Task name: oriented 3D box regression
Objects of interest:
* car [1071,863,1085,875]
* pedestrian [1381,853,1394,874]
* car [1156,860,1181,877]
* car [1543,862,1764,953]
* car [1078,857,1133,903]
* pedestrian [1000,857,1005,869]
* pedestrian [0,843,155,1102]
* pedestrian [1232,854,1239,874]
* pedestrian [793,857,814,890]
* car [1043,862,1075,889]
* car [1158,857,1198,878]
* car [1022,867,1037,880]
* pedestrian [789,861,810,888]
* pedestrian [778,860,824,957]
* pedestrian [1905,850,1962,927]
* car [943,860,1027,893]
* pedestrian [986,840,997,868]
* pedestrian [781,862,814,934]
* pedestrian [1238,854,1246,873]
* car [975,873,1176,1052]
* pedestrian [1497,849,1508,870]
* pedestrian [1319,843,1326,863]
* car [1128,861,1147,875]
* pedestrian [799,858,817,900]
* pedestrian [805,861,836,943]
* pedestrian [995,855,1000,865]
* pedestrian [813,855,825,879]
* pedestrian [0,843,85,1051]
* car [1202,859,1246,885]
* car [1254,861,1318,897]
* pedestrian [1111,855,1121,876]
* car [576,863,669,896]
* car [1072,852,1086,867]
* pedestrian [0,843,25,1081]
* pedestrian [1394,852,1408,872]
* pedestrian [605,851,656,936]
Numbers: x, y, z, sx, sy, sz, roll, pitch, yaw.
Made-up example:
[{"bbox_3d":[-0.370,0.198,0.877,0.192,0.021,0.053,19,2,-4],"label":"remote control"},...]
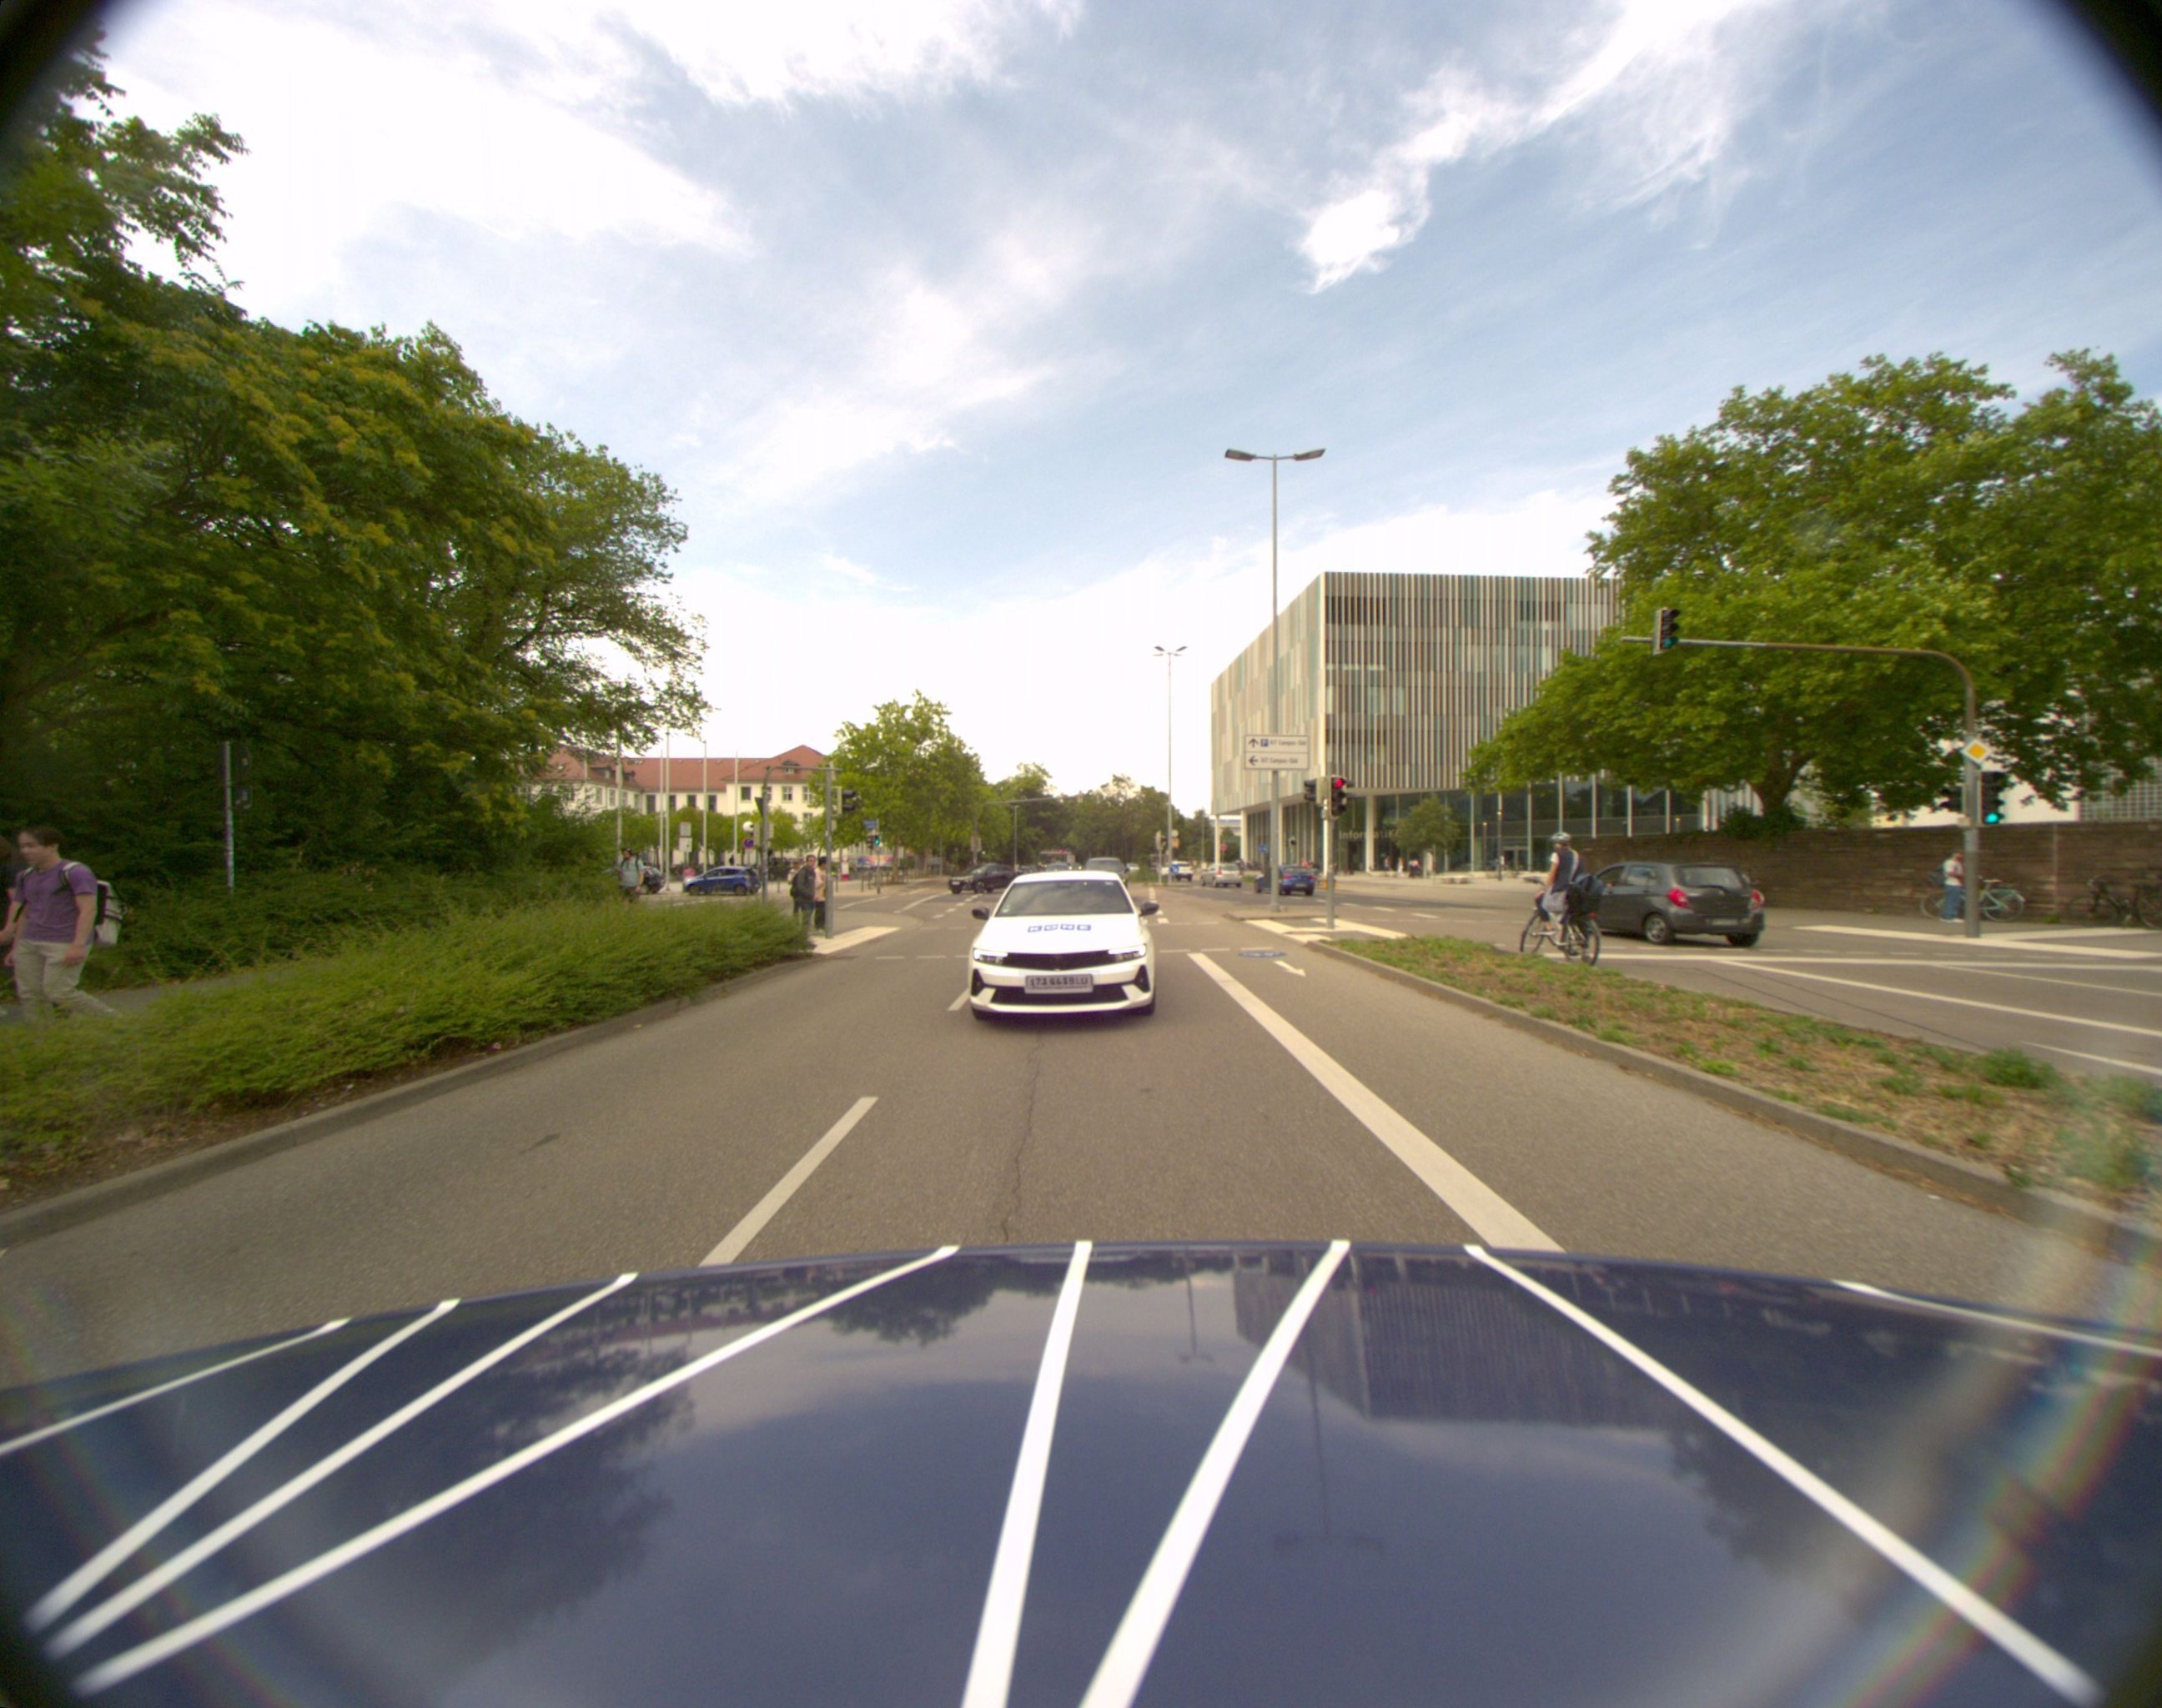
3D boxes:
[{"bbox_3d":[-0.411,1.990,103.121,1.661,1.455,3.999,4,0,-1],"label":"car"},{"bbox_3d":[24.800,0.748,61.418,0.732,1.730,0.677,-1,1,-36],"label":"pedestrian"},{"bbox_3d":[8.494,1.364,74.285,1.902,1.606,4.744,0,0,0],"label":"car"},{"bbox_3d":[10.777,0.925,14.655,1.575,1.480,3.637,1,0,2],"label":"car"},{"bbox_3d":[0.893,0.971,30.133,1.905,1.639,4.644,-1,0,-1],"label":"car"},{"bbox_3d":[-12.352,1.472,119.897,0.798,1.922,0.760,0,0,-3],"label":"pedestrian"},{"bbox_3d":[-7.465,0.797,5.468,0.626,1.735,0.780,0,0,-1],"label":"pedestrian"},{"bbox_3d":[14.452,0.945,71.021,0.512,1.826,0.772,0,-1,-3],"label":"pedestrian"},{"bbox_3d":[-15.513,1.072,42.554,0.769,1.794,0.892,-2,0,2],"label":"pedestrian"},{"bbox_3d":[-1.300,1.193,43.619,1.703,1.485,3.831,0,0,-3],"label":"car"},{"bbox_3d":[8.111,1.095,63.630,1.871,1.642,4.417,0,0,-14],"label":"car"},{"bbox_3d":[-6.172,2.321,91.038,1.703,1.361,3.831,0,0,-3],"label":"car"},{"bbox_3d":[-17.651,1.287,47.630,0.953,1.698,0.702,-2,1,16],"label":"pedestrian"},{"bbox_3d":[-5.117,0.985,13.917,0.603,1.725,0.654,0,0,-2],"label":"pedestrian"},{"bbox_3d":[20.458,0.797,18.245,0.748,1.772,0.782,-2,2,-34],"label":"pedestrian"},{"bbox_3d":[-4.980,1.151,39.790,1.800,1.547,4.185,-2,-1,42],"label":"car"},{"bbox_3d":[-5.829,-0.021,49.597,0.574,1.806,0.682,0,0,0],"label":"pedestrian"},{"bbox_3d":[-6.736,1.033,18.080,0.547,1.677,0.637,0,0,-2],"label":"pedestrian"},{"bbox_3d":[15.068,0.893,71.101,0.512,1.826,0.624,0,-1,-3],"label":"pedestrian"},{"bbox_3d":[-0.165,0.997,8.996,1.745,1.430,4.781,0,0,-3],"label":"car"},{"bbox_3d":[35.616,0.472,64.197,0.635,1.768,0.598,0,1,43],"label":"pedestrian"},{"bbox_3d":[25.804,-0.106,81.104,0.512,2.031,0.624,0,-1,-4],"label":"pedestrian"},{"bbox_3d":[6.680,1.634,89.898,1.766,1.480,4.545,0,0,-2],"label":"car"},{"bbox_3d":[-12.243,1.101,34.071,0.647,1.841,0.828,-2,1,-14],"label":"pedestrian"},{"bbox_3d":[-5.608,1.019,16.371,0.455,1.725,0.637,0,0,-2],"label":"pedestrian"},{"bbox_3d":[-13.152,0.959,119.875,0.646,1.556,0.804,0,0,-4],"label":"pedestrian"},{"bbox_3d":[-21.924,1.090,63.571,0.687,1.951,0.601,-2,1,-42],"label":"pedestrian"},{"bbox_3d":[-9.380,0.778,6.508,0.658,1.735,0.780,0,0,-1],"label":"pedestrian"},{"bbox_3d":[8.900,1.090,47.565,1.806,1.480,4.288,0,0,-2],"label":"car"},{"bbox_3d":[9.643,1.139,36.046,1.806,1.503,4.102,0,1,-2],"label":"car"},{"bbox_3d":[3.046,0.978,66.594,0.727,1.842,1.064,-1,0,-4],"label":"pedestrian"},{"bbox_3d":[-23.671,1.304,39.319,3.693,1.558,1.674,-1,1,-3],"label":"car"},{"bbox_3d":[-0.229,0.777,104.295,1.839,2.002,4.000,0,0,0],"label":"car"},{"bbox_3d":[-8.147,0.784,5.249,0.582,1.735,0.789,0,0,-1],"label":"pedestrian"},{"bbox_3d":[25.624,0.674,60.850,0.731,1.591,0.677,-1,1,-33],"label":"pedestrian"},{"bbox_3d":[-9.695,0.832,16.387,0.646,1.785,0.740,0,0,-2],"label":"pedestrian"}]
